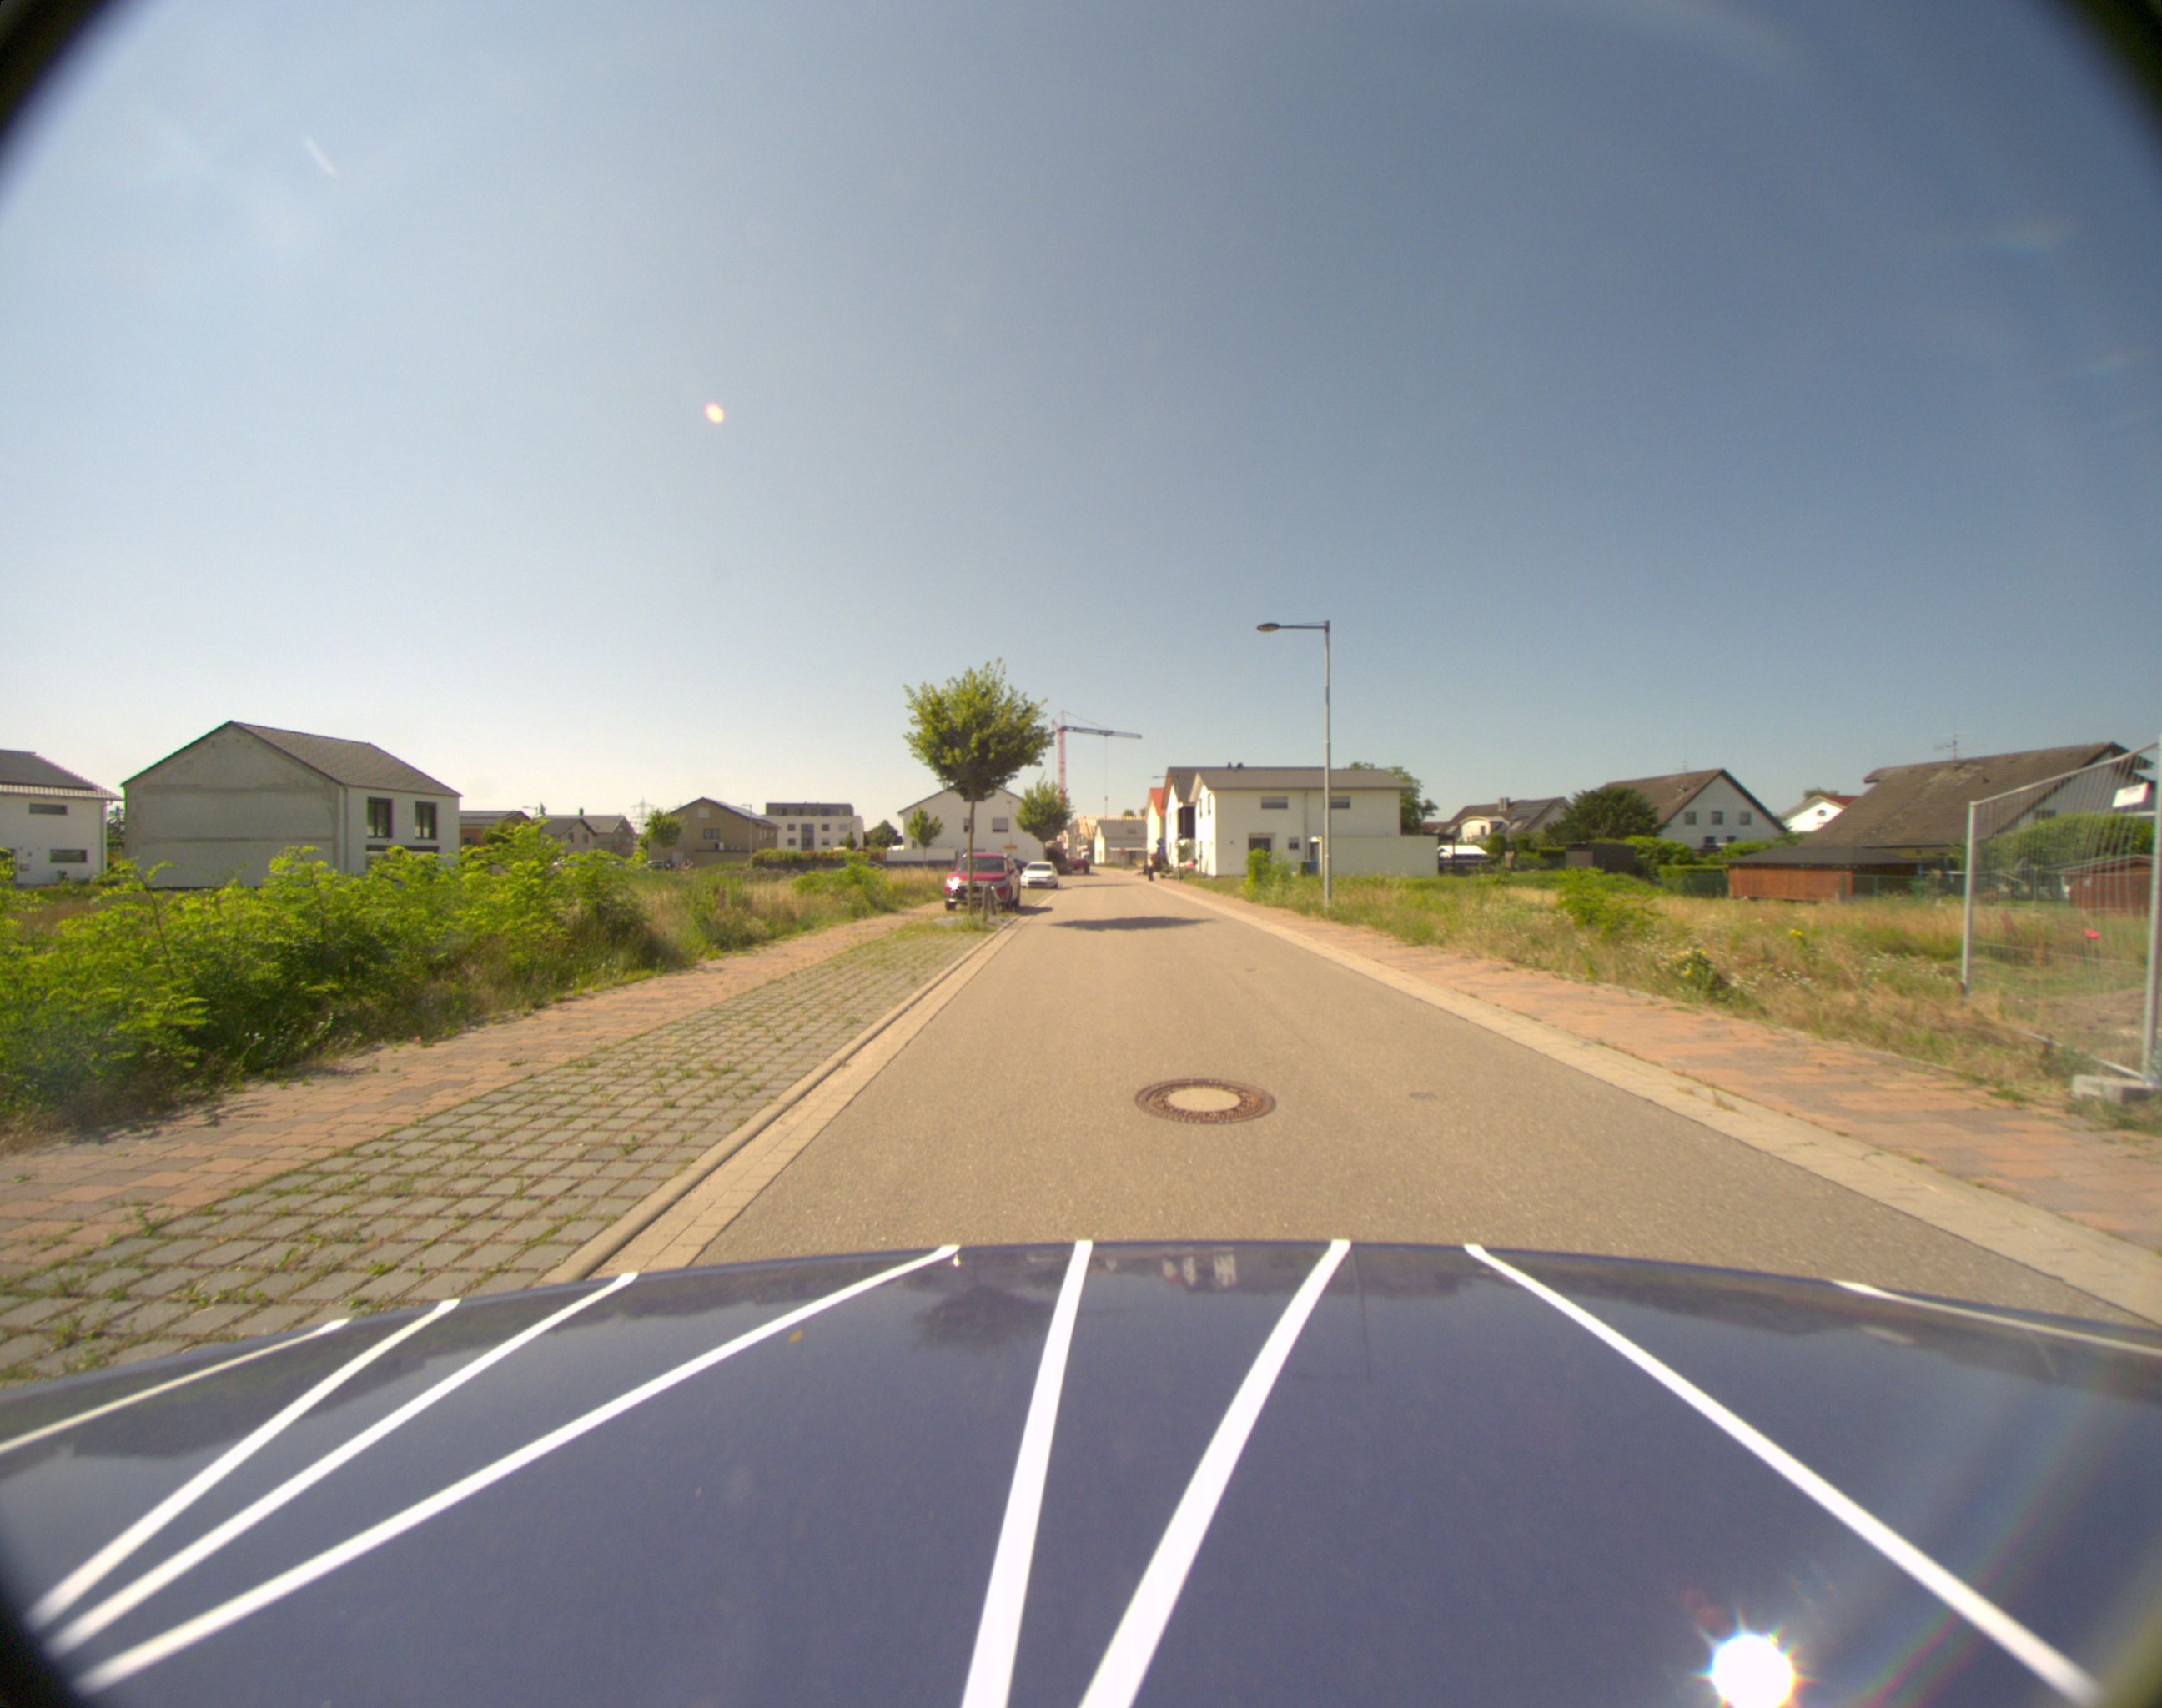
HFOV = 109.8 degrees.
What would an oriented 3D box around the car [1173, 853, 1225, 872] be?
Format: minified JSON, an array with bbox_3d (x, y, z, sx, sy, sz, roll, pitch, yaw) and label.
[{"bbox_3d":[10.090,0.707,65.262,4.164,1.553,1.744,0,0,-5],"label":"car"}]

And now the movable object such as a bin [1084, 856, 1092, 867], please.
[{"bbox_3d":[0.729,0.739,77.509,0.823,1.058,0.589,-1,1,-4],"label":"movable object such as a bin"}]

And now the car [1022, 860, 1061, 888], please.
[{"bbox_3d":[-2.126,1.068,42.062,1.779,1.411,4.166,1,0,1],"label":"car"}]

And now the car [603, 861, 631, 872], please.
[{"bbox_3d":[-58.994,1.551,96.648,1.667,1.392,3.917,0,0,-8],"label":"car"}]

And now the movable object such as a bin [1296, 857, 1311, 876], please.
[{"bbox_3d":[13.437,0.745,45.943,0.661,1.092,0.785,0,1,0],"label":"movable object such as a bin"}]

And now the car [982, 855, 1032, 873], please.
[{"bbox_3d":[-6.586,0.916,68.056,4.348,1.549,1.960,-1,0,-1],"label":"car"}]

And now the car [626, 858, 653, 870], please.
[{"bbox_3d":[-59.817,1.325,102.978,1.750,1.494,3.997,0,0,-8],"label":"car"}]

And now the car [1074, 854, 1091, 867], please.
[{"bbox_3d":[0.136,0.839,95.570,1.911,1.470,3.998,-1,1,-3],"label":"car"}]

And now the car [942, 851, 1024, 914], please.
[{"bbox_3d":[-2.756,0.775,22.332,1.781,1.653,4.434,1,0,0],"label":"car"}]

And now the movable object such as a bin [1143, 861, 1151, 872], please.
[{"bbox_3d":[5.894,1.128,67.719,0.618,0.931,0.564,-1,0,-4],"label":"movable object such as a bin"}]

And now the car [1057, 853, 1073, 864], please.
[{"bbox_3d":[-2.418,0.654,115.060,1.804,1.609,3.672,-1,1,-9],"label":"car"}]

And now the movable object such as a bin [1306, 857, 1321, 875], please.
[{"bbox_3d":[14.067,0.736,46.061,0.671,1.092,0.808,0,1,2],"label":"movable object such as a bin"}]

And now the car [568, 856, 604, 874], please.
[{"bbox_3d":[-58.233,1.284,89.504,2.000,2.002,3.997,0,0,-8],"label":"car"}]

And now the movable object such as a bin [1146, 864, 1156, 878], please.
[{"bbox_3d":[4.700,1.133,50.879,0.625,0.943,0.500,-1,1,-4],"label":"movable object such as a bin"}]

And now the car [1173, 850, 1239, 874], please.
[{"bbox_3d":[9.689,0.596,58.992,4.749,1.864,1.938,0,0,-2],"label":"car"}]
